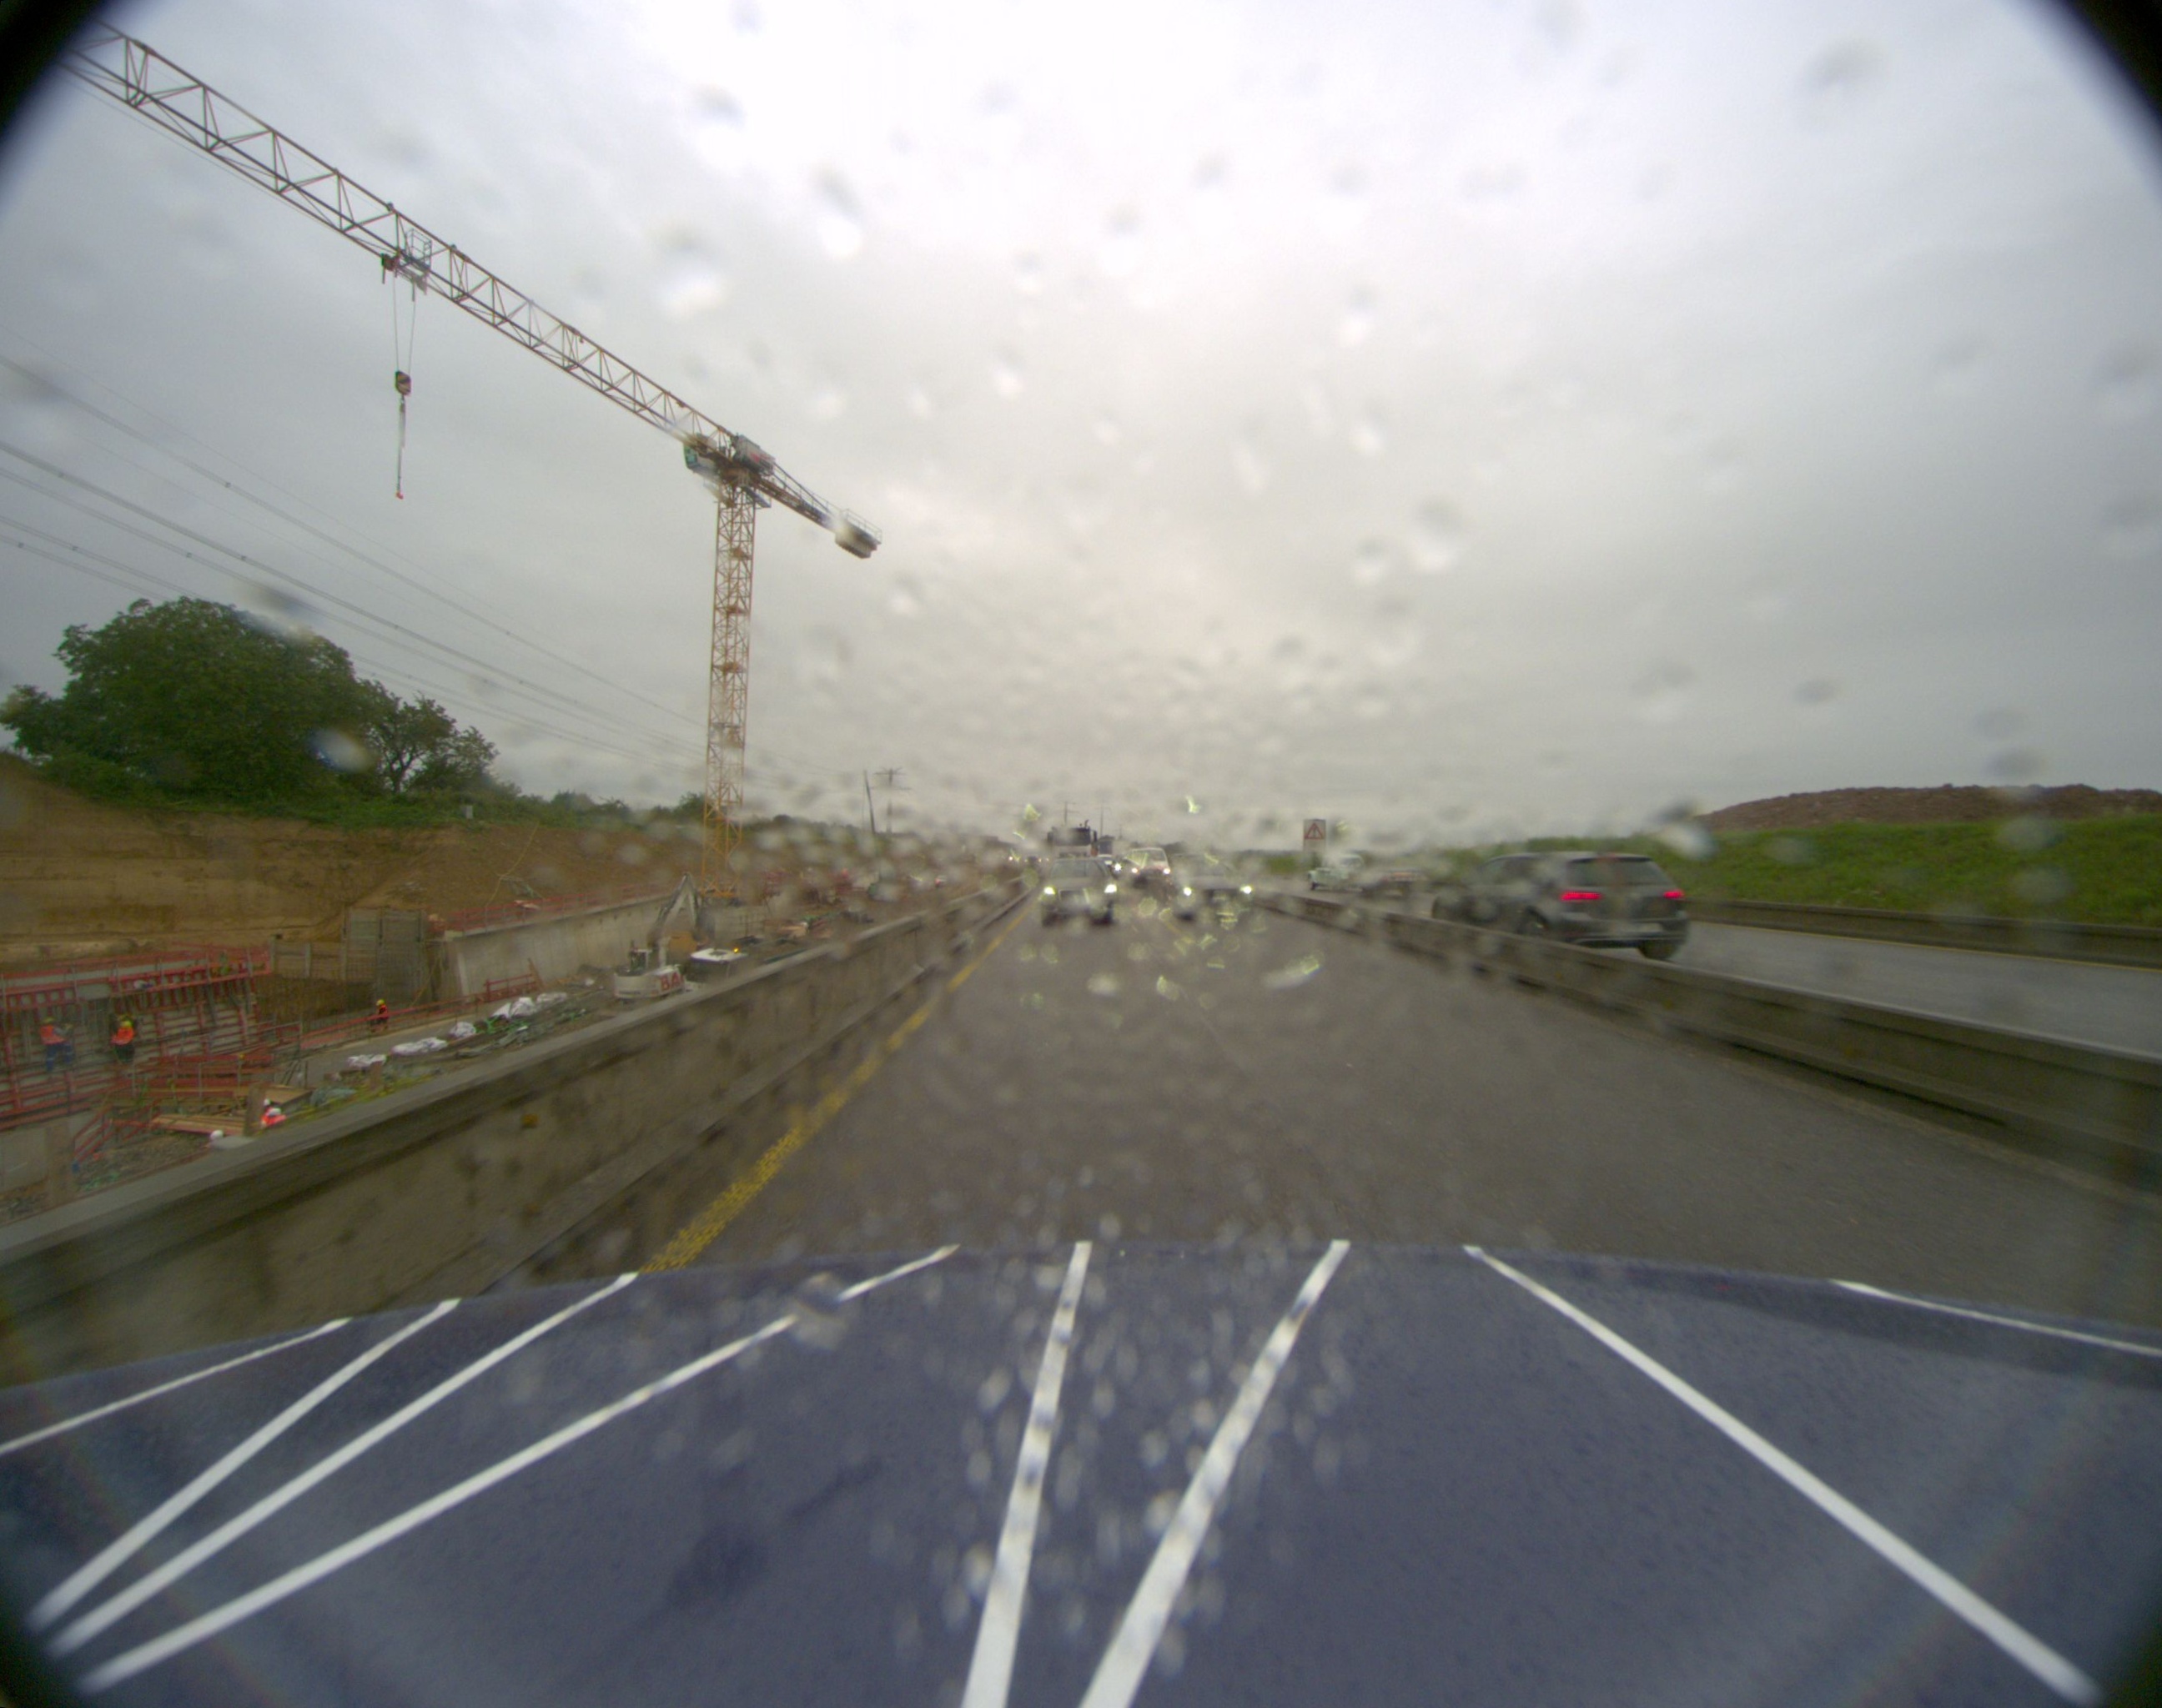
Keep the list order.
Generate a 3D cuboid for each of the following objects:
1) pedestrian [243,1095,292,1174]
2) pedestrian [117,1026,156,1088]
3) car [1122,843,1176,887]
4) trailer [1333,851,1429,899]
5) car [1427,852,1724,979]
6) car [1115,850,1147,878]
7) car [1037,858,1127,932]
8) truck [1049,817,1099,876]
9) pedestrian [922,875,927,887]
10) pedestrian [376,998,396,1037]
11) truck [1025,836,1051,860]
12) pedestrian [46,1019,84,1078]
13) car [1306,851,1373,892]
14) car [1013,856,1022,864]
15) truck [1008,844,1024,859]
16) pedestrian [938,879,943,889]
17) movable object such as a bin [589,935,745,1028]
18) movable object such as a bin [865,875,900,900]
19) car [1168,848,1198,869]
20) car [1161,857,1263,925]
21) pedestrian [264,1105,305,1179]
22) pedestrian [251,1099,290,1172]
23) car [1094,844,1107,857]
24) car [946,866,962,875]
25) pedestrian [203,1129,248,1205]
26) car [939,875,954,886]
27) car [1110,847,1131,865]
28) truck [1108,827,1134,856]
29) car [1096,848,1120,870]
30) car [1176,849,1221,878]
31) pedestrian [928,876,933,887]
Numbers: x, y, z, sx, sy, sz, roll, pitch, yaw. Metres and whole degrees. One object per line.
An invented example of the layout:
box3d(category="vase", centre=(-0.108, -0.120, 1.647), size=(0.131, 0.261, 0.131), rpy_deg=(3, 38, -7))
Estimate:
box3d(category="pedestrian", centre=(-21.683, 7.465, 20.263), size=(0.603, 1.894, 0.614), rpy_deg=(1, 2, 0))
box3d(category="pedestrian", centre=(-33.830, 7.267, 27.220), size=(0.489, 2.087, 0.481), rpy_deg=(-6, 2, 0))
box3d(category="car", centre=(3.197, 0.463, 36.649), size=(2.069, 1.934, 5.155), rpy_deg=(-1, 1, 0))
box3d(category="trailer", centre=(10.167, 0.657, 26.064), size=(1.634, 1.456, 4.160), rpy_deg=(0, 1, 0))
box3d(category="car", centre=(6.695, 0.726, 10.842), size=(1.793, 1.418, 3.707), rpy_deg=(-2, 1, 0))
box3d(category="car", centre=(3.088, 0.575, 47.468), size=(1.626, 1.583, 3.999), rpy_deg=(-2, 1, 0))
box3d(category="car", centre=(0.022, 0.875, 18.225), size=(1.874, 1.481, 4.260), rpy_deg=(-1, 1, 0))
box3d(category="truck", centre=(-0.510, -0.514, 49.227), size=(2.856, 3.463, 8.641), rpy_deg=(-1, 1, -1))
box3d(category="pedestrian", centre=(-24.592, 4.273, 119.664), size=(0.614, 1.848, 0.666), rpy_deg=(1, 1, 1))
box3d(category="pedestrian", centre=(-32.965, 7.745, 36.026), size=(0.489, 1.750, 0.481), rpy_deg=(1, 2, 0))
box3d(category="truck", centre=(-8.573, -1.170, 150.031), size=(4.320, 4.319, 13.399), rpy_deg=(-2, 1, -6))
box3d(category="pedestrian", centre=(-34.109, 6.504, 25.509), size=(0.488, 1.793, 0.583), rpy_deg=(-5, 2, 40))
box3d(category="car", centre=(10.121, 0.640, 30.034), size=(1.361, 1.456, 3.716), rpy_deg=(0, 1, 0))
box3d(category="car", centre=(-12.203, 1.048, 145.697), size=(1.790, 1.418, 3.998), rpy_deg=(-2, 1, -5))
box3d(category="truck", centre=(-17.382, -0.619, 204.206), size=(3.545, 3.871, 8.334), rpy_deg=(-2, 1, 0))
box3d(category="pedestrian", centre=(-22.825, 4.878, 123.619), size=(0.614, 1.671, 0.603), rpy_deg=(-2, 1, 1))
box3d(category="movable object such as a bin", centre=(-20.855, 6.332, 38.865), size=(3.514, 3.405, 6.655), rpy_deg=(-1, 2, 9))
box3d(category="movable object such as a bin", centre=(-26.827, 4.476, 102.912), size=(3.501, 2.866, 3.999), rpy_deg=(5, 1, 0))
box3d(category="car", centre=(8.461, 0.327, 63.237), size=(1.826, 1.616, 4.751), rpy_deg=(-2, 1, 0))
box3d(category="car", centre=(3.120, 0.830, 18.908), size=(1.805, 1.375, 4.087), rpy_deg=(-1, 1, 0))
box3d(category="pedestrian", centre=(-22.224, 8.038, 21.208), size=(0.603, 1.894, 0.481), rpy_deg=(1, 2, 0))
box3d(category="pedestrian", centre=(-23.125, 8.021, 21.679), size=(0.603, 1.894, 0.481), rpy_deg=(1, 2, 0))
box3d(category="car", centre=(2.977, -0.521, 117.727), size=(1.859, 1.926, 3.999), rpy_deg=(-2, 1, 0))
box3d(category="car", centre=(-25.013, 3.328, 150.116), size=(2.351, 1.609, 4.858), rpy_deg=(0, 1, -1))
box3d(category="pedestrian", centre=(-22.319, 8.161, 19.834), size=(0.603, 1.760, 0.481), rpy_deg=(3, 2, 0))
box3d(category="car", centre=(-22.769, 4.438, 128.990), size=(1.860, 1.609, 4.079), rpy_deg=(0, 1, -1))
box3d(category="car", centre=(3.954, 0.166, 77.327), size=(1.870, 1.744, 3.999), rpy_deg=(-2, 1, 0))
box3d(category="truck", centre=(5.858, -1.818, 113.541), size=(3.227, 4.072, 9.200), rpy_deg=(-2, 1, 0))
box3d(category="car", centre=(2.228, 0.362, 63.810), size=(1.789, 1.744, 3.999), rpy_deg=(-2, 1, 0))
box3d(category="car", centre=(6.921, 0.514, 45.076), size=(1.947, 1.584, 4.308), rpy_deg=(-1, 1, 0))
box3d(category="pedestrian", centre=(-23.717, 4.364, 119.835), size=(0.614, 1.671, 0.603), rpy_deg=(-2, 1, 1))
